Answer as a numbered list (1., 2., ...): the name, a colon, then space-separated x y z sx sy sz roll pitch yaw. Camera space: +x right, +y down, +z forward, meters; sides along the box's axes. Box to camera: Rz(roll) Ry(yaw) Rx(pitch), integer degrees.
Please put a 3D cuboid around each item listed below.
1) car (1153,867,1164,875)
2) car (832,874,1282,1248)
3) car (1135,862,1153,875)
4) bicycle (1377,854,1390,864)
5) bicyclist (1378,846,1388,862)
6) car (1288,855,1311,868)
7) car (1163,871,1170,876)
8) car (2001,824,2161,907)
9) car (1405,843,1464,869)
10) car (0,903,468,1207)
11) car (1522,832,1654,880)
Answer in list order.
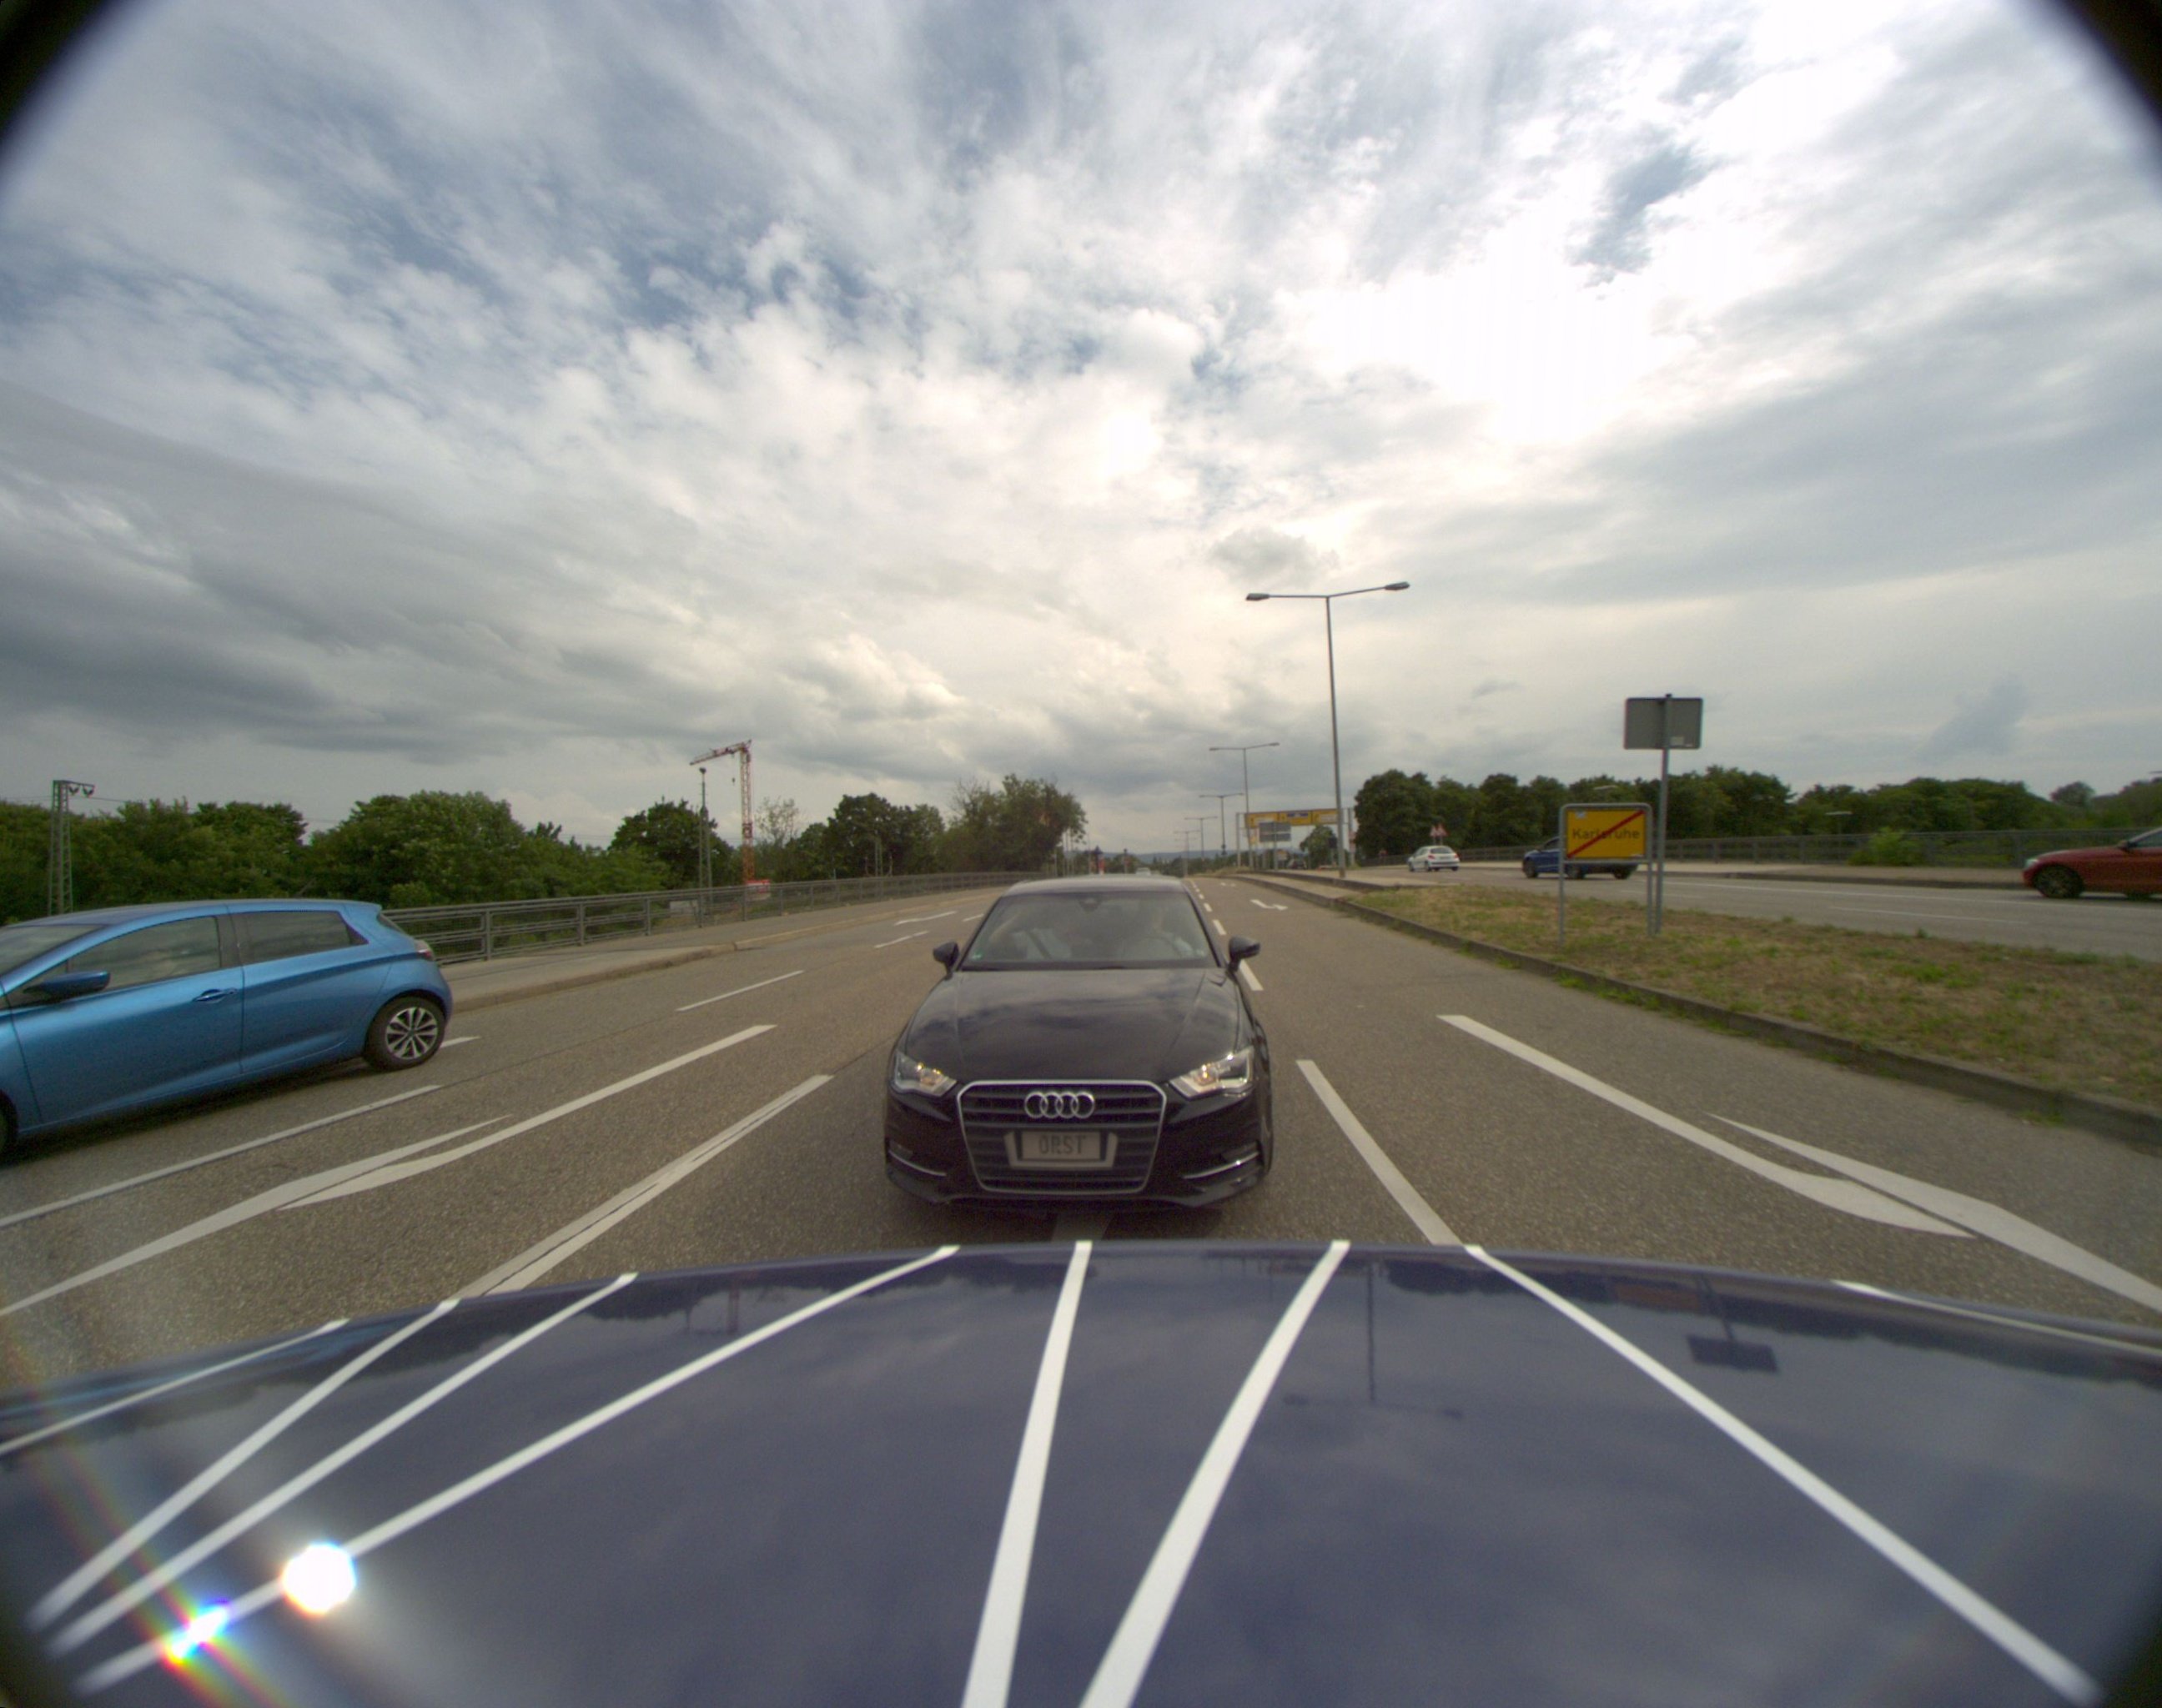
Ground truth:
1. car: 13.924 3.067 136.144 1.860 1.335 4.002 -2 0 7
2. car: 0.151 0.935 5.529 1.851 1.355 4.731 -2 0 7
3. car: 7.091 1.632 85.141 1.860 1.335 4.002 -2 0 7
4. bicycle: 30.846 0.491 77.597 0.685 1.047 1.995 -3 0 6
5. bicyclist: 30.833 -0.009 77.545 0.685 1.662 0.848 -3 0 6
6. car: 24.653 0.811 85.892 1.796 1.410 4.002 -2 0 6
7. car: 25.385 5.898 225.174 1.860 1.335 4.002 -2 0 7
8. car: 19.060 0.167 12.792 1.949 1.372 4.213 -2 0 -3
9. car: 20.671 0.086 44.576 1.730 1.437 3.876 -2 1 2
10. car: -6.882 1.293 5.202 1.724 1.512 3.952 -4 0 9
11. car: 18.325 0.067 27.741 1.948 1.551 4.464 -2 0 2
